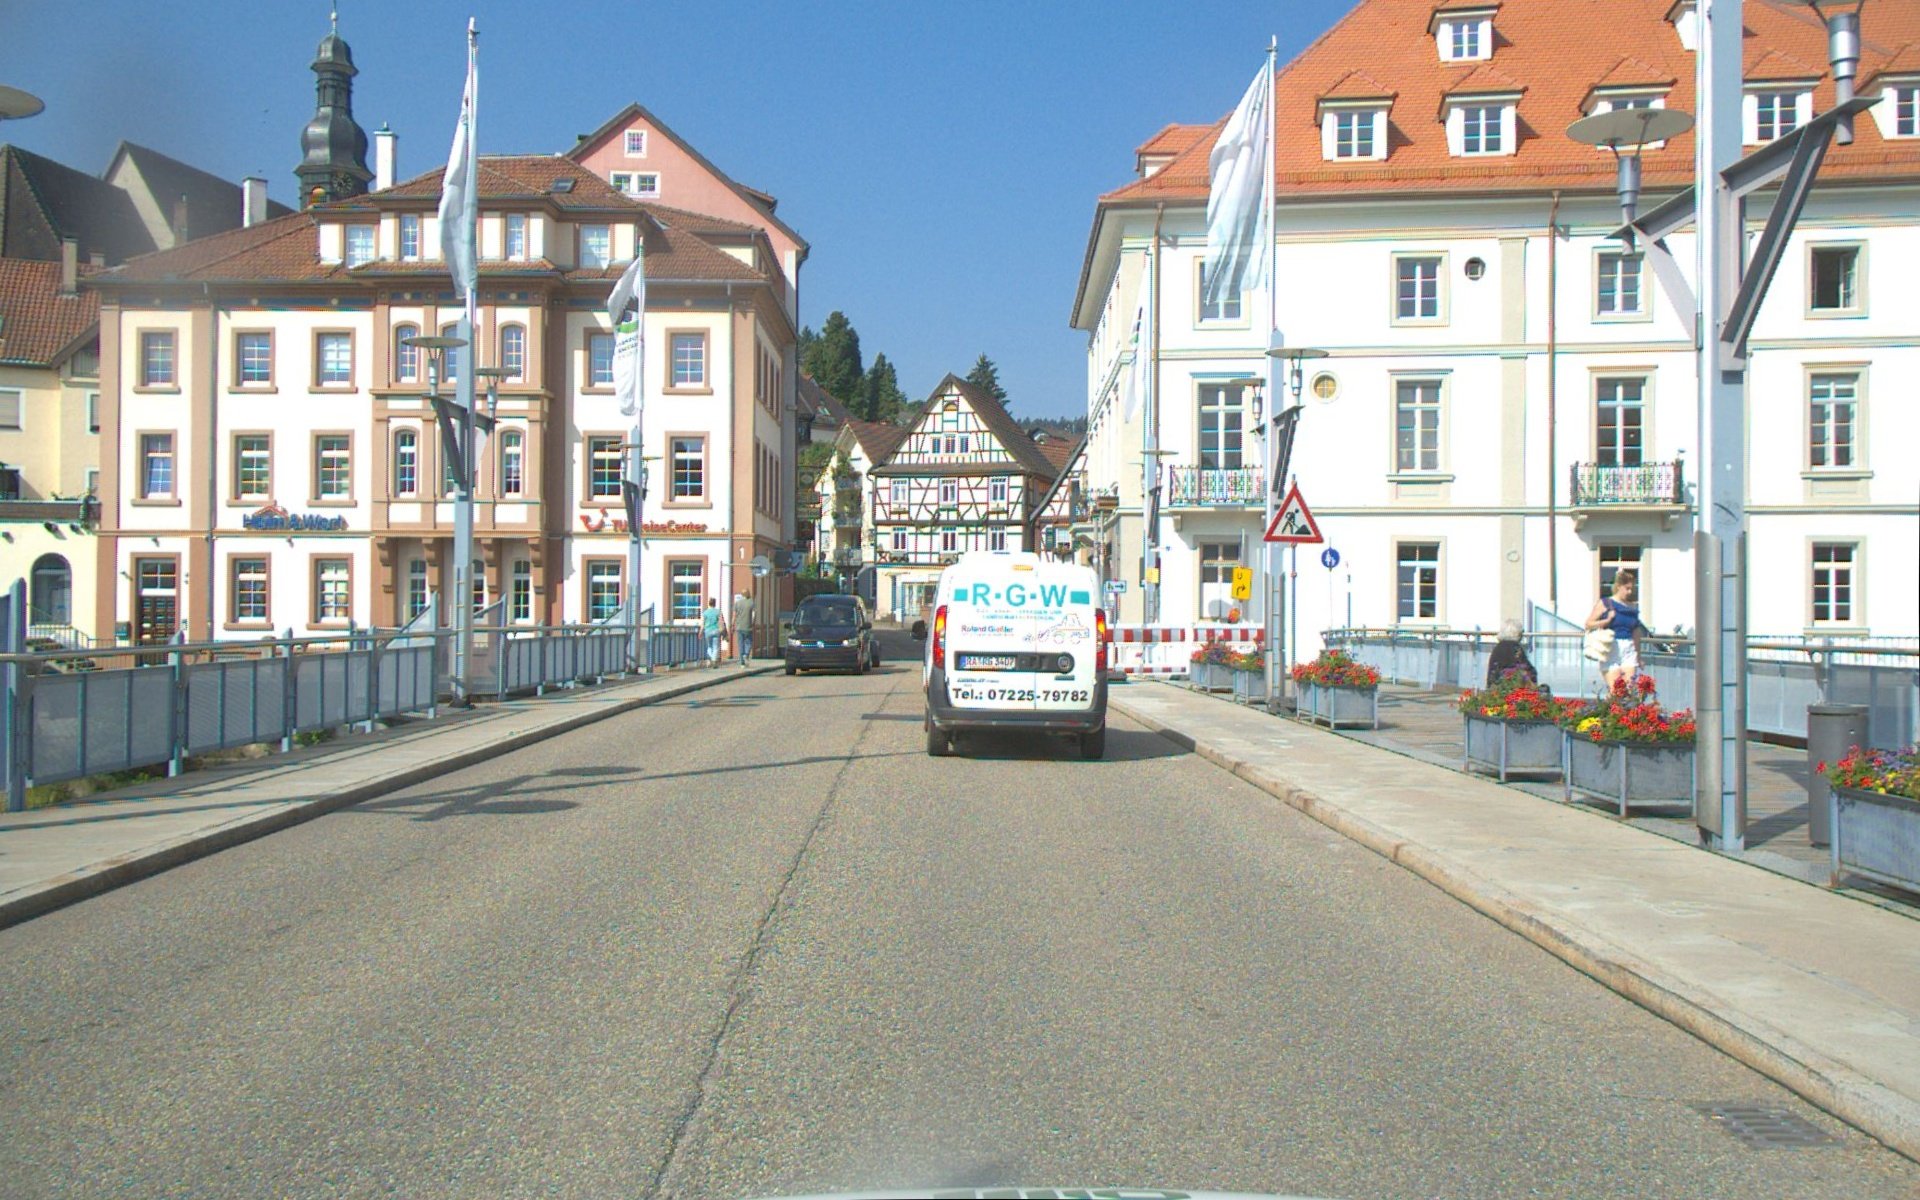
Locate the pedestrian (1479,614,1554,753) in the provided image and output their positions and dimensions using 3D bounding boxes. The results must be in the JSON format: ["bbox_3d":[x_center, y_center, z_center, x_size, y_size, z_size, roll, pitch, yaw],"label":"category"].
[{"bbox_3d":[5.195,0.769,15.464,0.443,1.266,0.625,0,-1,-6],"label":"pedestrian"}]

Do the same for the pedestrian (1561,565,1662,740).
[{"bbox_3d":[6.682,0.525,16.991,0.711,1.753,0.747,1,0,-3],"label":"pedestrian"}]

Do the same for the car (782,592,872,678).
[{"bbox_3d":[-3.042,0.754,38.616,1.740,1.824,4.696,1,0,-1],"label":"car"}]

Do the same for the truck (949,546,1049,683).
[{"bbox_3d":[0.742,0.286,34.231,1.824,2.630,4.259,1,0,-2],"label":"truck"}]

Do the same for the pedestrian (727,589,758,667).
[{"bbox_3d":[-5.111,0.653,38.875,0.602,1.793,0.863,1,0,-2],"label":"pedestrian"}]

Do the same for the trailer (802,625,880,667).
[{"bbox_3d":[-3.047,1.188,43.104,1.714,1.040,4.185,-1,-1,0],"label":"trailer"}]

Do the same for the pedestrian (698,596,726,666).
[{"bbox_3d":[-5.863,0.723,39.147,0.572,1.638,0.537,1,0,-3],"label":"pedestrian"}]

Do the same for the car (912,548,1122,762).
[{"bbox_3d":[0.470,0.523,17.376,1.807,1.939,4.312,1,-1,-3],"label":"car"}]
